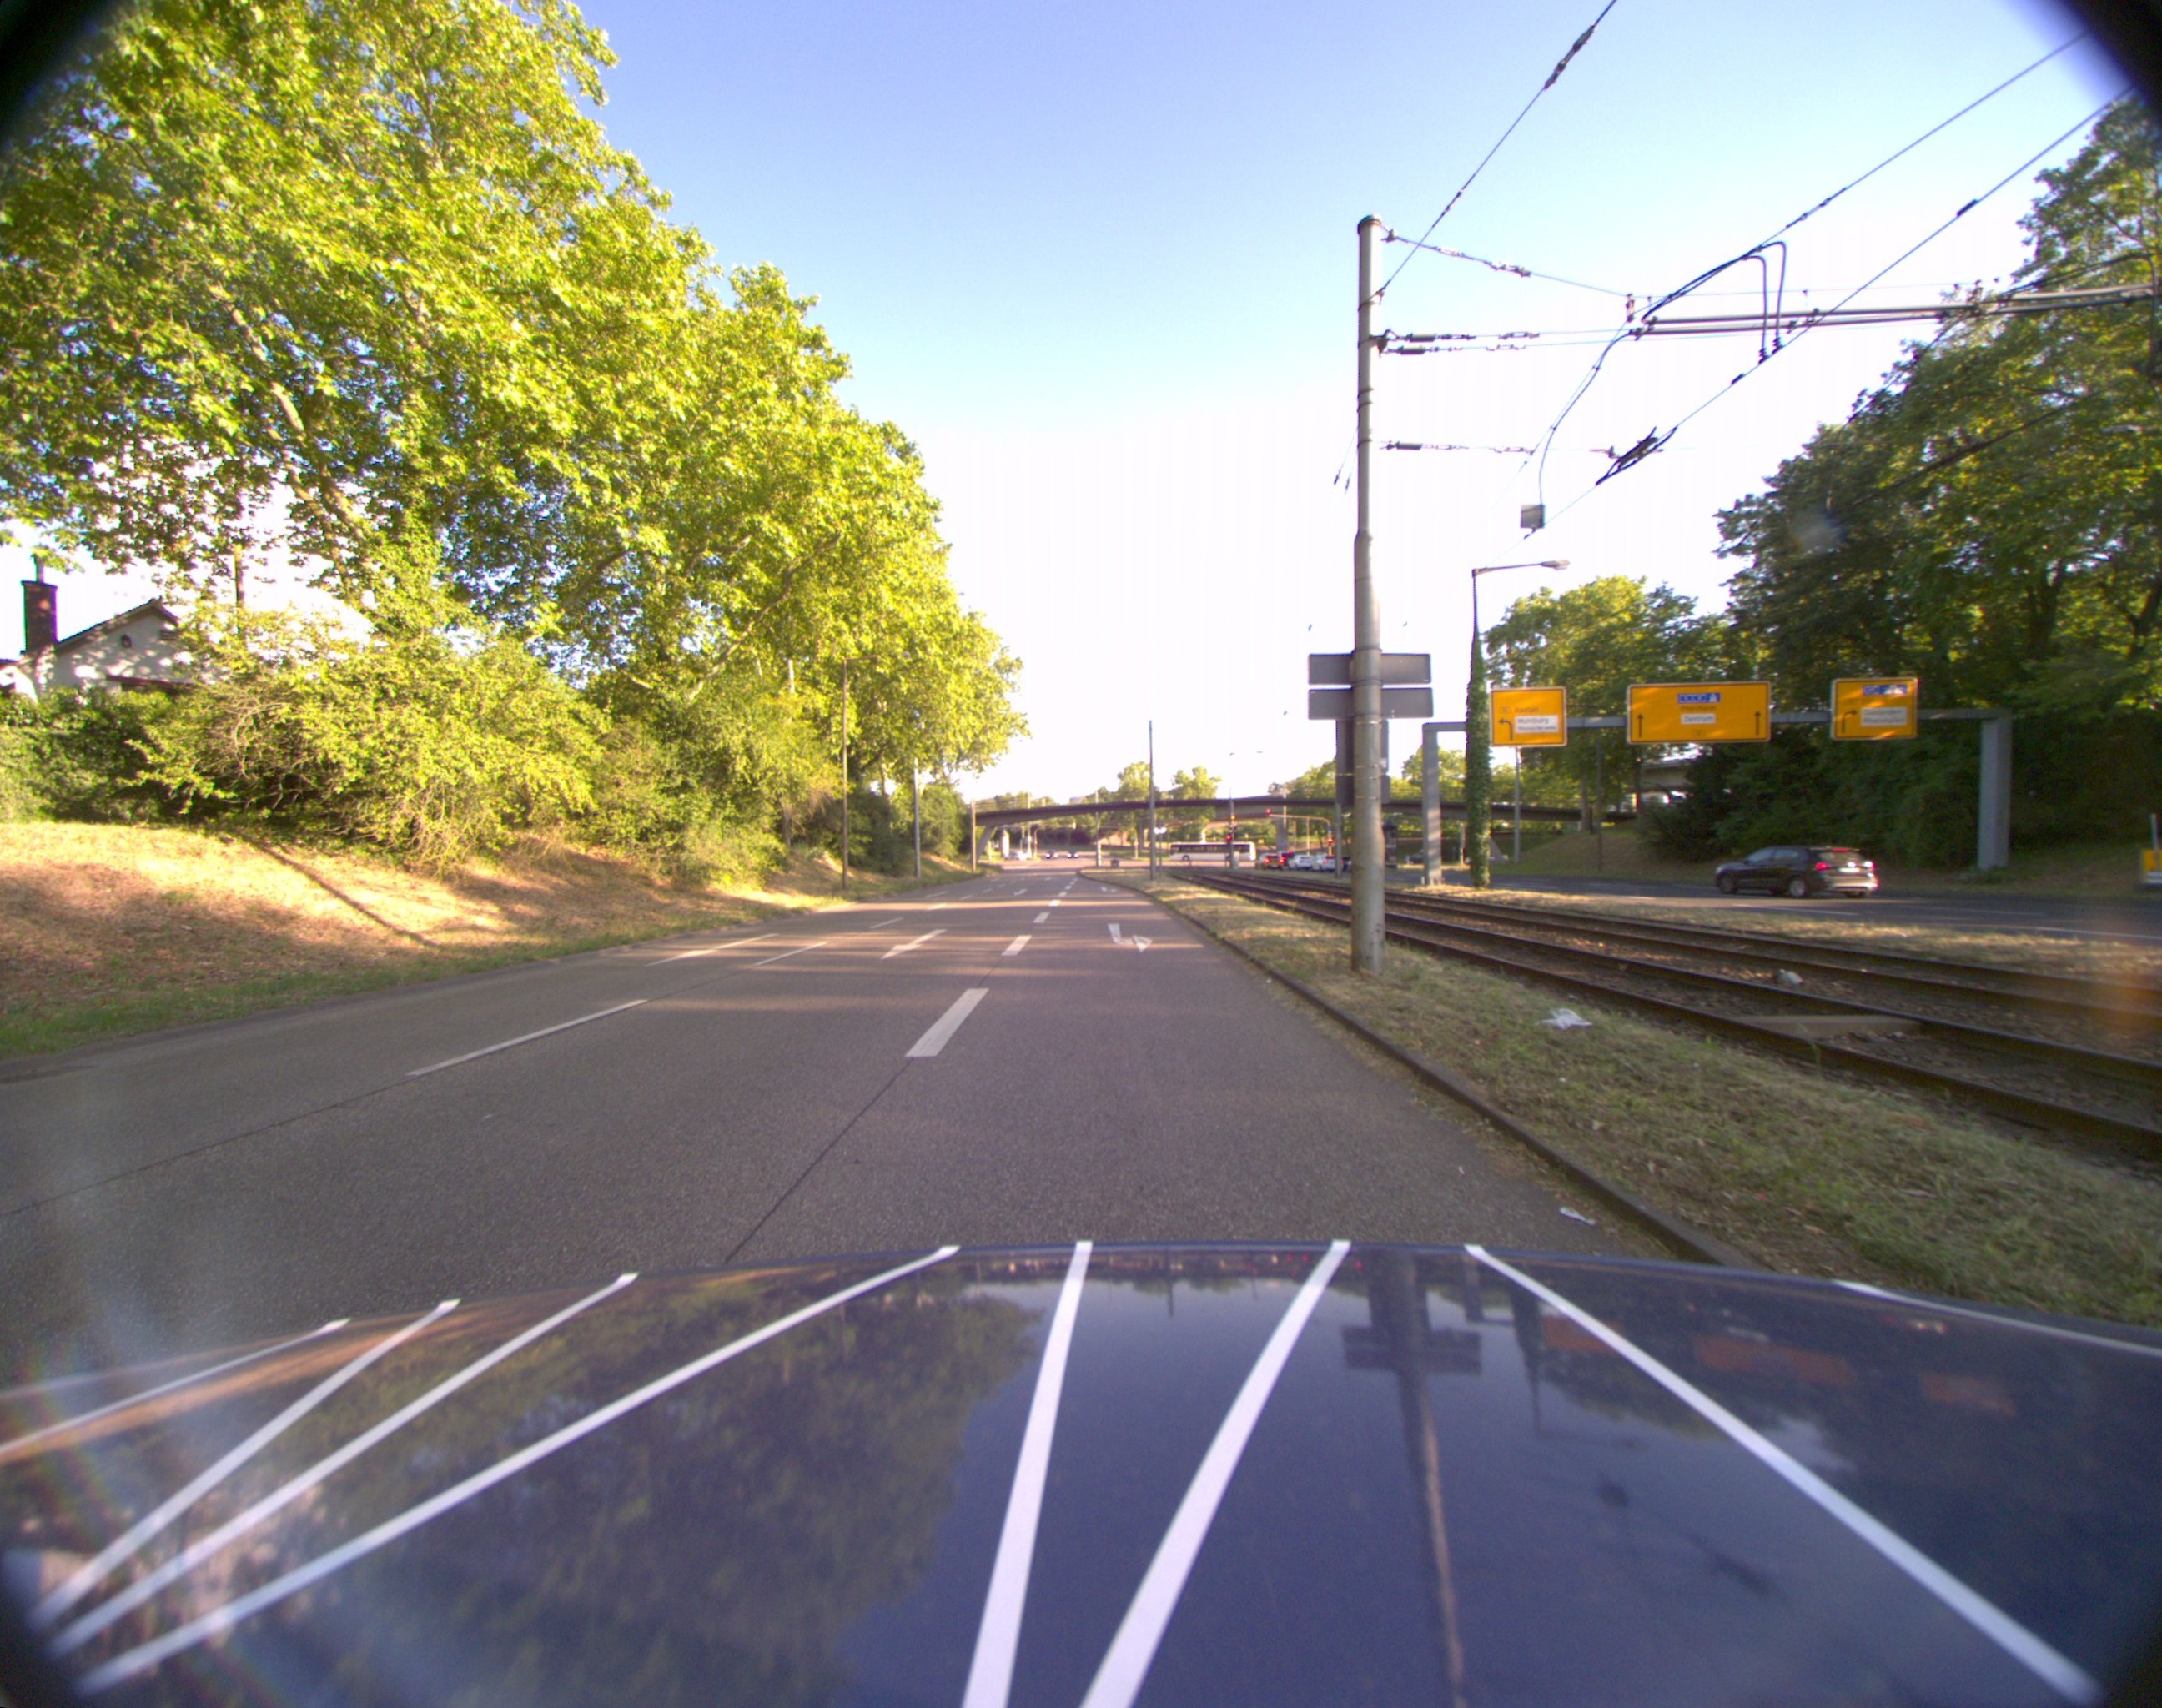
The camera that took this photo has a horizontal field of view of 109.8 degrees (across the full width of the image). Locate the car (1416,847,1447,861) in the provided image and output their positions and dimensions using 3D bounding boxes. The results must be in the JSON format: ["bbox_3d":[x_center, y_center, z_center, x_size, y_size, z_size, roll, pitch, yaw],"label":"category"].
[{"bbox_3d":[49.154,0.013,106.657,3.805,1.848,1.679,-2,1,20],"label":"car"}]

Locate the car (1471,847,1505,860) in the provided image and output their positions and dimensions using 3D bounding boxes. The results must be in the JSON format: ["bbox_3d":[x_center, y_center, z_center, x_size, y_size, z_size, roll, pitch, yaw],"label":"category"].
[{"bbox_3d":[54.129,-0.104,101.130,3.804,1.570,1.679,-2,1,24],"label":"car"}]

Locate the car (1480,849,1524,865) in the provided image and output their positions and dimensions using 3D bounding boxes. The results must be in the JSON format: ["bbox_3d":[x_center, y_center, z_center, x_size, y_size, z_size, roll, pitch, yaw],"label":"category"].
[{"bbox_3d":[46.174,0.313,83.431,3.990,1.646,1.787,-2,1,24],"label":"car"}]

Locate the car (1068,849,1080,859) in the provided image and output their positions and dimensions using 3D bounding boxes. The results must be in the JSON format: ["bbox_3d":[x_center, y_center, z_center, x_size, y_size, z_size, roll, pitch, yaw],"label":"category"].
[{"bbox_3d":[-1.271,0.011,141.887,1.905,1.726,3.998,-2,0,-5],"label":"car"}]

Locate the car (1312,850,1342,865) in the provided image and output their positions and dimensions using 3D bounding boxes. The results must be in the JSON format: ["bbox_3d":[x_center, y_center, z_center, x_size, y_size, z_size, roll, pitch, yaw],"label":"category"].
[{"bbox_3d":[24.939,0.361,77.177,1.917,1.416,4.228,-1,0,5],"label":"car"}]

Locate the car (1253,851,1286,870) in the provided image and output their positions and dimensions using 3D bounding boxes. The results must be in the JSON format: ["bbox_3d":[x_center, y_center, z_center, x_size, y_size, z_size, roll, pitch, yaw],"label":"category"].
[{"bbox_3d":[16.139,0.497,65.245,1.767,1.535,4.000,-1,0,0],"label":"car"}]

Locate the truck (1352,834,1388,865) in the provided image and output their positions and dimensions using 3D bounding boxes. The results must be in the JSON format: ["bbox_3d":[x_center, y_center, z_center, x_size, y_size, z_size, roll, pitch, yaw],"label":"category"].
[{"bbox_3d":[28.373,-0.450,74.809,2.281,2.862,6.886,-1,0,13],"label":"truck"}]

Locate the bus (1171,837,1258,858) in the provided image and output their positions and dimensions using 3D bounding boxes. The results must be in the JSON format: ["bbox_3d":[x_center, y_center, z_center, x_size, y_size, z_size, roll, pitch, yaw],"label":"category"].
[{"bbox_3d":[20.766,-0.995,118.594,13.164,2.846,2.420,-2,1,20],"label":"bus"}]

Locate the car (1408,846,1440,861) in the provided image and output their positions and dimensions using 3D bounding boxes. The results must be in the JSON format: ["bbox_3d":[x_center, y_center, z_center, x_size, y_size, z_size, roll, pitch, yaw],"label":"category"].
[{"bbox_3d":[46.969,-0.045,104.200,3.805,1.848,1.679,-2,1,20],"label":"car"}]

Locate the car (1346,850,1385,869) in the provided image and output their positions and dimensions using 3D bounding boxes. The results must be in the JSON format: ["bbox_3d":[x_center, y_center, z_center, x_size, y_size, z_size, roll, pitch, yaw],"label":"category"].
[{"bbox_3d":[23.959,0.432,64.061,1.813,1.535,4.000,-1,0,1],"label":"car"}]

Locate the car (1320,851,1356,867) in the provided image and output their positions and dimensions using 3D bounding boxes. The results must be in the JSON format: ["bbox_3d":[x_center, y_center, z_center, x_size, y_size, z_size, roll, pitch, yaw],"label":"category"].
[{"bbox_3d":[23.729,0.465,70.218,1.868,1.416,4.226,-1,0,0],"label":"car"}]

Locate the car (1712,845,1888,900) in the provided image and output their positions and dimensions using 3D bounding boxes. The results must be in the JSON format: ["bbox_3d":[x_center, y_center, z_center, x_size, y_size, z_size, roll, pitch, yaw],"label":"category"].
[{"bbox_3d":[21.752,0.514,23.246,1.755,1.548,3.973,0,0,3],"label":"car"}]

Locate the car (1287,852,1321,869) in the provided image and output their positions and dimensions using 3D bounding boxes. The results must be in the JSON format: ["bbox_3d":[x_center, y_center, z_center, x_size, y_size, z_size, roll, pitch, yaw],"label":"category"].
[{"bbox_3d":[19.907,0.534,68.093,1.918,1.416,4.227,-1,0,2],"label":"car"}]

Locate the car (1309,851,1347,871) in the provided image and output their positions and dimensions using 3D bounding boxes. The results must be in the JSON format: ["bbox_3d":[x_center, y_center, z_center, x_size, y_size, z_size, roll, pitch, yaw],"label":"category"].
[{"bbox_3d":[20.019,0.532,61.814,1.767,1.535,4.000,-1,0,0],"label":"car"}]

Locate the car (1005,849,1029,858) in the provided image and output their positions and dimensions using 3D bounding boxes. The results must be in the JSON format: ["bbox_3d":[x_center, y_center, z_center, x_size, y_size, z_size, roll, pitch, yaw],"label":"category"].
[{"bbox_3d":[-11.079,-0.094,131.247,3.647,1.503,1.665,-2,1,24],"label":"car"}]

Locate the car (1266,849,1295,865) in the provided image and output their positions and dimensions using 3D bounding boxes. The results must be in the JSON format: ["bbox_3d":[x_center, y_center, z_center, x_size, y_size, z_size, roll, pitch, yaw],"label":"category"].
[{"bbox_3d":[19.572,0.254,74.750,1.917,1.540,4.227,-1,0,4],"label":"car"}]

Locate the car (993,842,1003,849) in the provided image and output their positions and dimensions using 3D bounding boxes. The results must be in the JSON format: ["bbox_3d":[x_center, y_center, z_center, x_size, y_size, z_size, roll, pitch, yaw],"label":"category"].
[{"bbox_3d":[-24.038,-2.442,219.905,1.686,1.779,3.863,-2,1,-25],"label":"car"}]

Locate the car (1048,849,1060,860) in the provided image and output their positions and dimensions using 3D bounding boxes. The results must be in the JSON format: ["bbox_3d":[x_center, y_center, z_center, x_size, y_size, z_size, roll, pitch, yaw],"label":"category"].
[{"bbox_3d":[-4.914,0.066,139.210,1.960,1.779,3.998,-2,0,-5],"label":"car"}]
